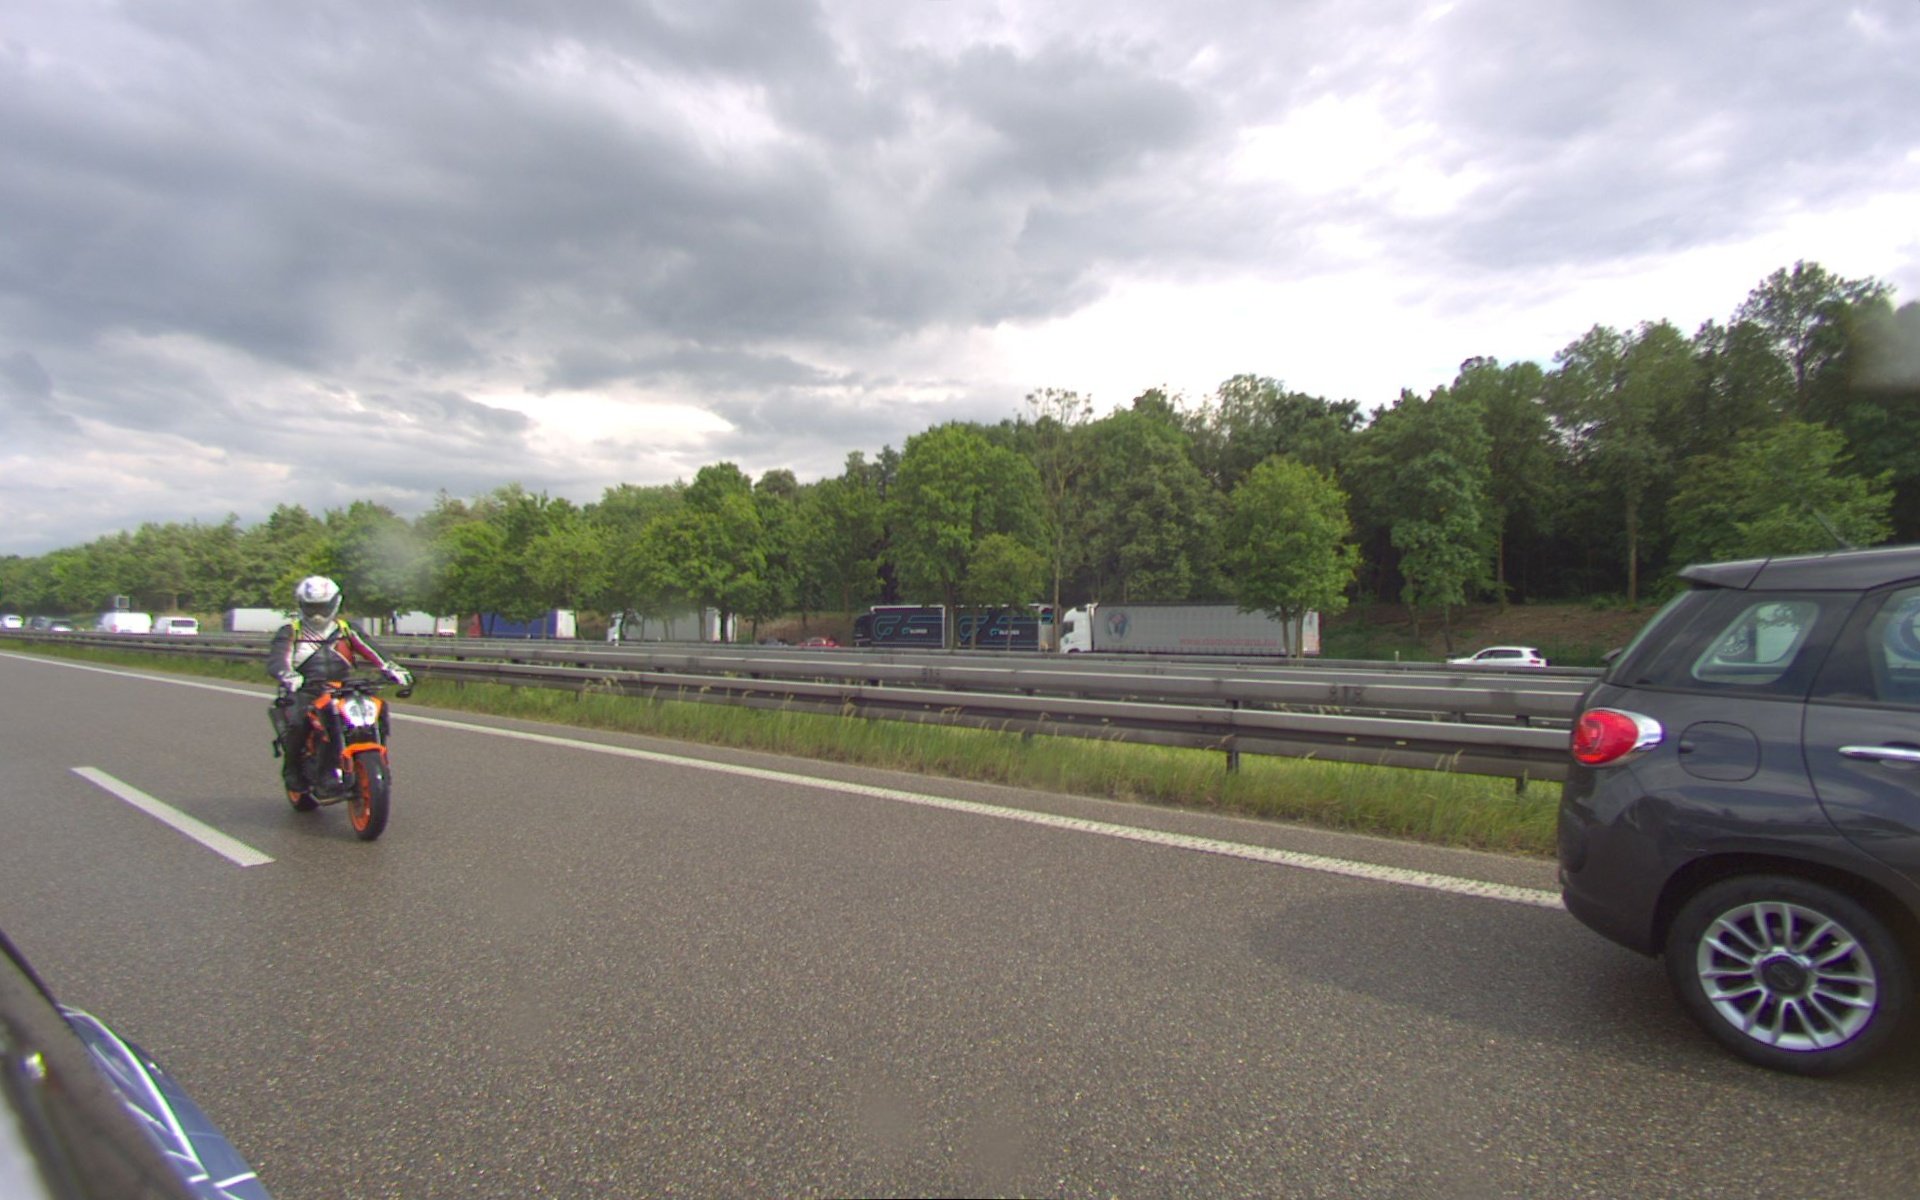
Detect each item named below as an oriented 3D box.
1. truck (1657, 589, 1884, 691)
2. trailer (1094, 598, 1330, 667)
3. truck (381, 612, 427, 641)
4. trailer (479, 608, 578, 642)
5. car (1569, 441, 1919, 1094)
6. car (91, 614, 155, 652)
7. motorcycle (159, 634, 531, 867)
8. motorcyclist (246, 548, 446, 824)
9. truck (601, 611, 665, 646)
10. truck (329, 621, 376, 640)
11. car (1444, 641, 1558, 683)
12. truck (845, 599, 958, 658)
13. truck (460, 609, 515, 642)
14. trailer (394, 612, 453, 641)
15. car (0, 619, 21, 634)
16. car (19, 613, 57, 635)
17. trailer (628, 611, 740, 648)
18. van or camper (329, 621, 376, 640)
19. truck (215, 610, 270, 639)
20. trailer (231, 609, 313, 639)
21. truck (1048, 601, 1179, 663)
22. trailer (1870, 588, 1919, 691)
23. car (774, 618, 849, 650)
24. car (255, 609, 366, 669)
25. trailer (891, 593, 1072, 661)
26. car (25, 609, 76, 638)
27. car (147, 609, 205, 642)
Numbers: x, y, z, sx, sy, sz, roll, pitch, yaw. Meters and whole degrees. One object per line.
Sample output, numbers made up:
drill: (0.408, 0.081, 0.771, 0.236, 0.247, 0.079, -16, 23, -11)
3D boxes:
truck: (32.479, 1.474, 40.693, 3.744, 3.688, 6.710, -1, 0, -44)
trailer: (14.498, 1.861, 59.730, 13.340, 3.677, 3.749, -1, -2, 42)
truck: (-66.129, 3.152, 120.326, 5.066, 3.292, 2.636, -1, 0, 30)
trailer: (-46.122, 2.701, 107.908, 13.388, 3.431, 2.800, -1, -2, 34)
car: (4.079, 0.450, 2.726, 3.972, 1.818, 1.675, -1, 0, 40)
car: (-49.277, 1.900, 59.521, 5.205, 2.061, 2.030, -1, 0, 40)
motorcycle: (-4.444, 0.900, 7.163, 3.189, 1.235, 1.174, -1, 0, 37)
motorcyclist: (-4.225, 0.536, 6.968, 0.999, 1.719, 0.872, -1, 0, 38)
truck: (-31.821, 2.750, 98.498, 5.498, 3.298, 3.322, -1, 0, 37)
truck: (-75.630, 3.774, 125.981, 6.288, 2.282, 2.105, -1, -1, 28)
car: (25.649, 2.887, 48.058, 4.368, 1.731, 2.036, -1, 0, 43)
truck: (-4.549, 2.083, 77.354, 8.413, 4.266, 3.748, -1, 0, 41)
truck: (-52.327, 2.820, 112.066, 5.880, 3.482, 2.837, -1, 0, 33)
trailer: (-62.827, 3.100, 118.455, 7.712, 3.257, 2.560, -1, -1, 31)
car: (-130.072, 3.619, 138.257, 5.256, 1.905, 2.026, -1, 0, 40)
car: (-83.582, 2.165, 91.696, 5.055, 1.905, 1.933, -1, 0, 40)
trailer: (-25.664, 2.685, 93.630, 12.458, 3.241, 3.315, -1, -2, 38)
van or camper: (-75.639, 3.774, 125.976, 6.292, 2.282, 2.105, -1, -1, 28)
truck: (-96.487, 3.226, 136.101, 6.880, 3.732, 3.189, -1, 0, 26)
trailer: (-90.616, 3.172, 133.187, 12.504, 3.767, 3.185, -1, -2, 27)
truck: (9.650, 1.935, 64.057, 7.351, 3.616, 3.748, -1, 0, 41)
trailer: (38.269, 1.357, 34.442, 3.743, 3.677, 10.510, 1, -2, -42)
car: (-12.326, 2.748, 83.523, 6.207, 2.501, 2.764, -1, 0, 41)
car: (-24.218, 1.389, 37.662, 5.205, 2.061, 2.030, -1, 0, 40)
trailer: (1.242, 1.944, 72.295, 13.796, 4.439, 3.749, -1, -2, 42)
car: (-66.560, 1.696, 74.045, 4.648, 2.061, 2.152, -1, 0, 40)
car: (-51.994, 1.638, 67.097, 4.648, 2.061, 2.152, -1, 0, 40)
